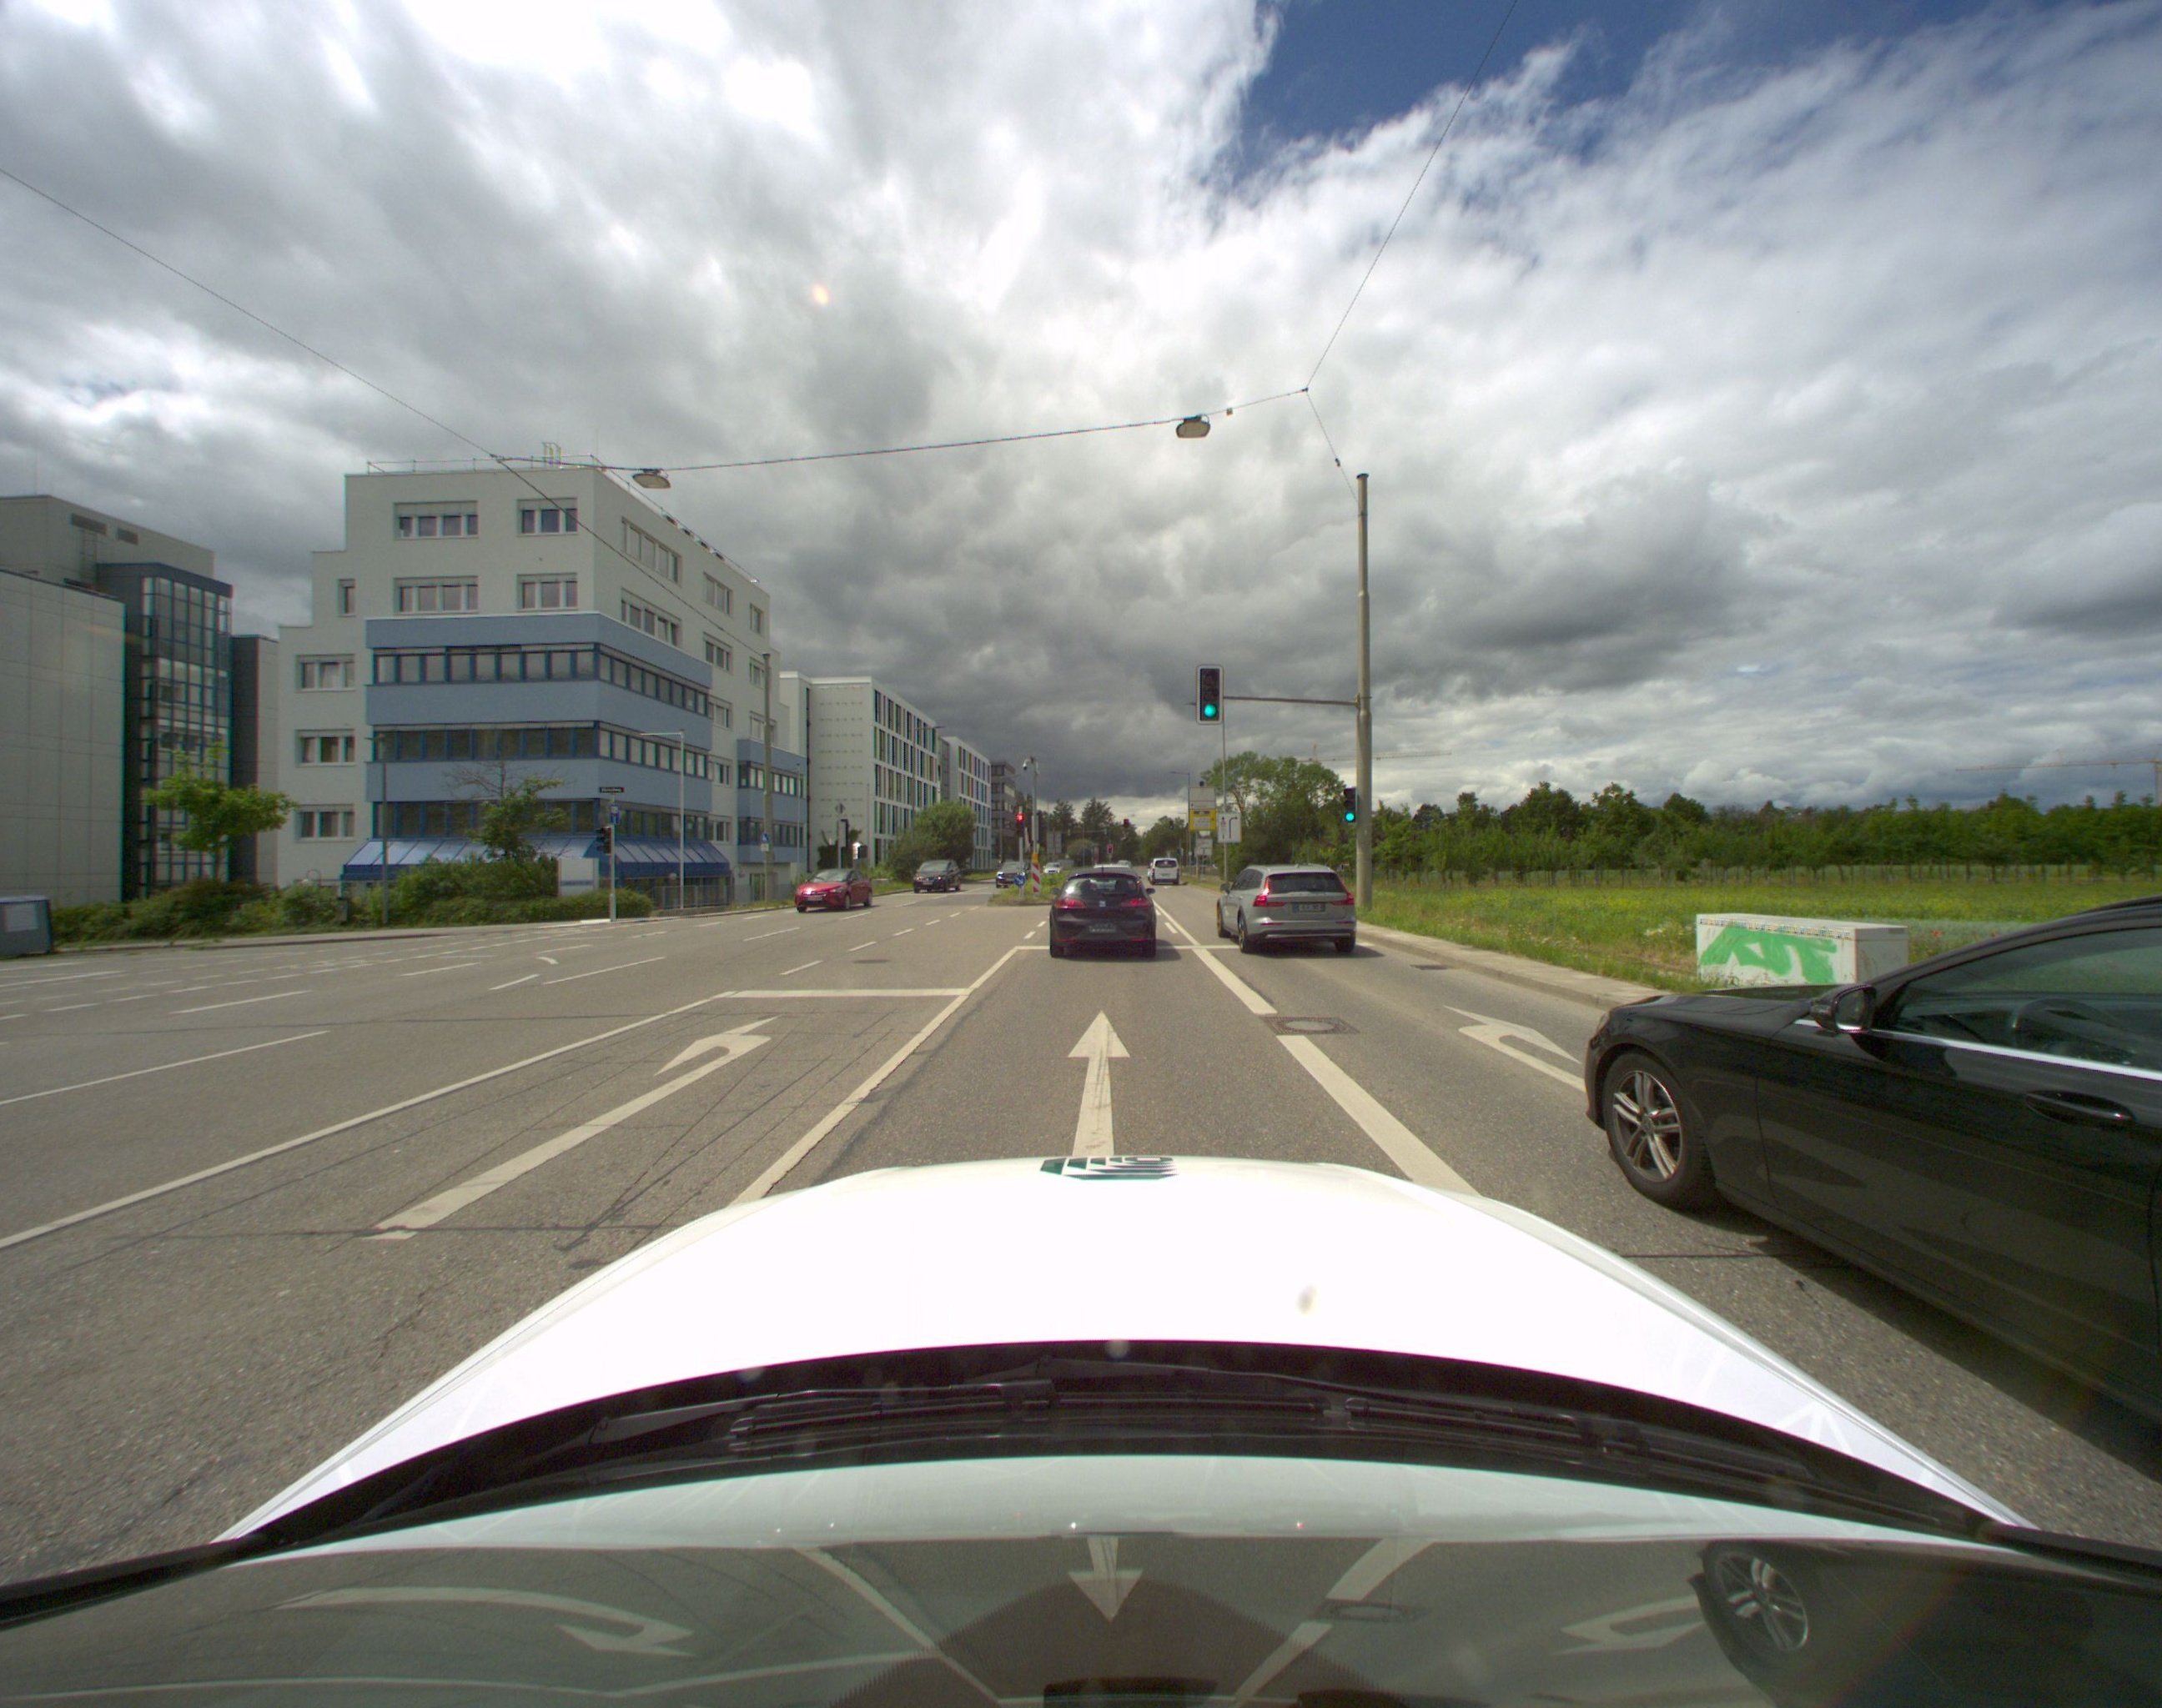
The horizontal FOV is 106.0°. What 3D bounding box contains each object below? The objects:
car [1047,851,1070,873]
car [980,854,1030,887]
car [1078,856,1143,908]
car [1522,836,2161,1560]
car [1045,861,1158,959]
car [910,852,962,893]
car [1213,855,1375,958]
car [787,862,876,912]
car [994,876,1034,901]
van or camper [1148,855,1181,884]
[{"bbox_3d":[-2.162,0.822,80.171,1.986,2.014,4.001,-1,-1,2],"label":"car"},{"bbox_3d":[-3.549,0.798,38.792,1.839,1.461,4.057,-1,-1,2],"label":"car"},{"bbox_3d":[0.953,0.908,27.197,1.976,1.590,4.226,-1,-1,1],"label":"car"},{"bbox_3d":[3.268,0.746,2.049,1.831,1.538,4.808,-1,1,2],"label":"car"},{"bbox_3d":[0.498,0.894,14.498,1.739,1.484,4.005,0,-1,5],"label":"car"},{"bbox_3d":[-7.686,0.990,43.692,1.987,2.014,4.479,-1,-1,-1],"label":"car"},{"bbox_3d":[3.654,0.861,14.836,1.950,1.525,4.342,-2,-1,3],"label":"car"},{"bbox_3d":[-8.749,1.127,28.880,1.769,1.612,4.001,-1,-1,2],"label":"car"},{"bbox_3d":[-4.089,2.075,50.124,1.986,1.409,4.001,-1,-1,2],"label":"car"},{"bbox_3d":[5.809,1.073,56.889,1.893,1.926,3.999,-1,-1,0],"label":"van or camper"}]
